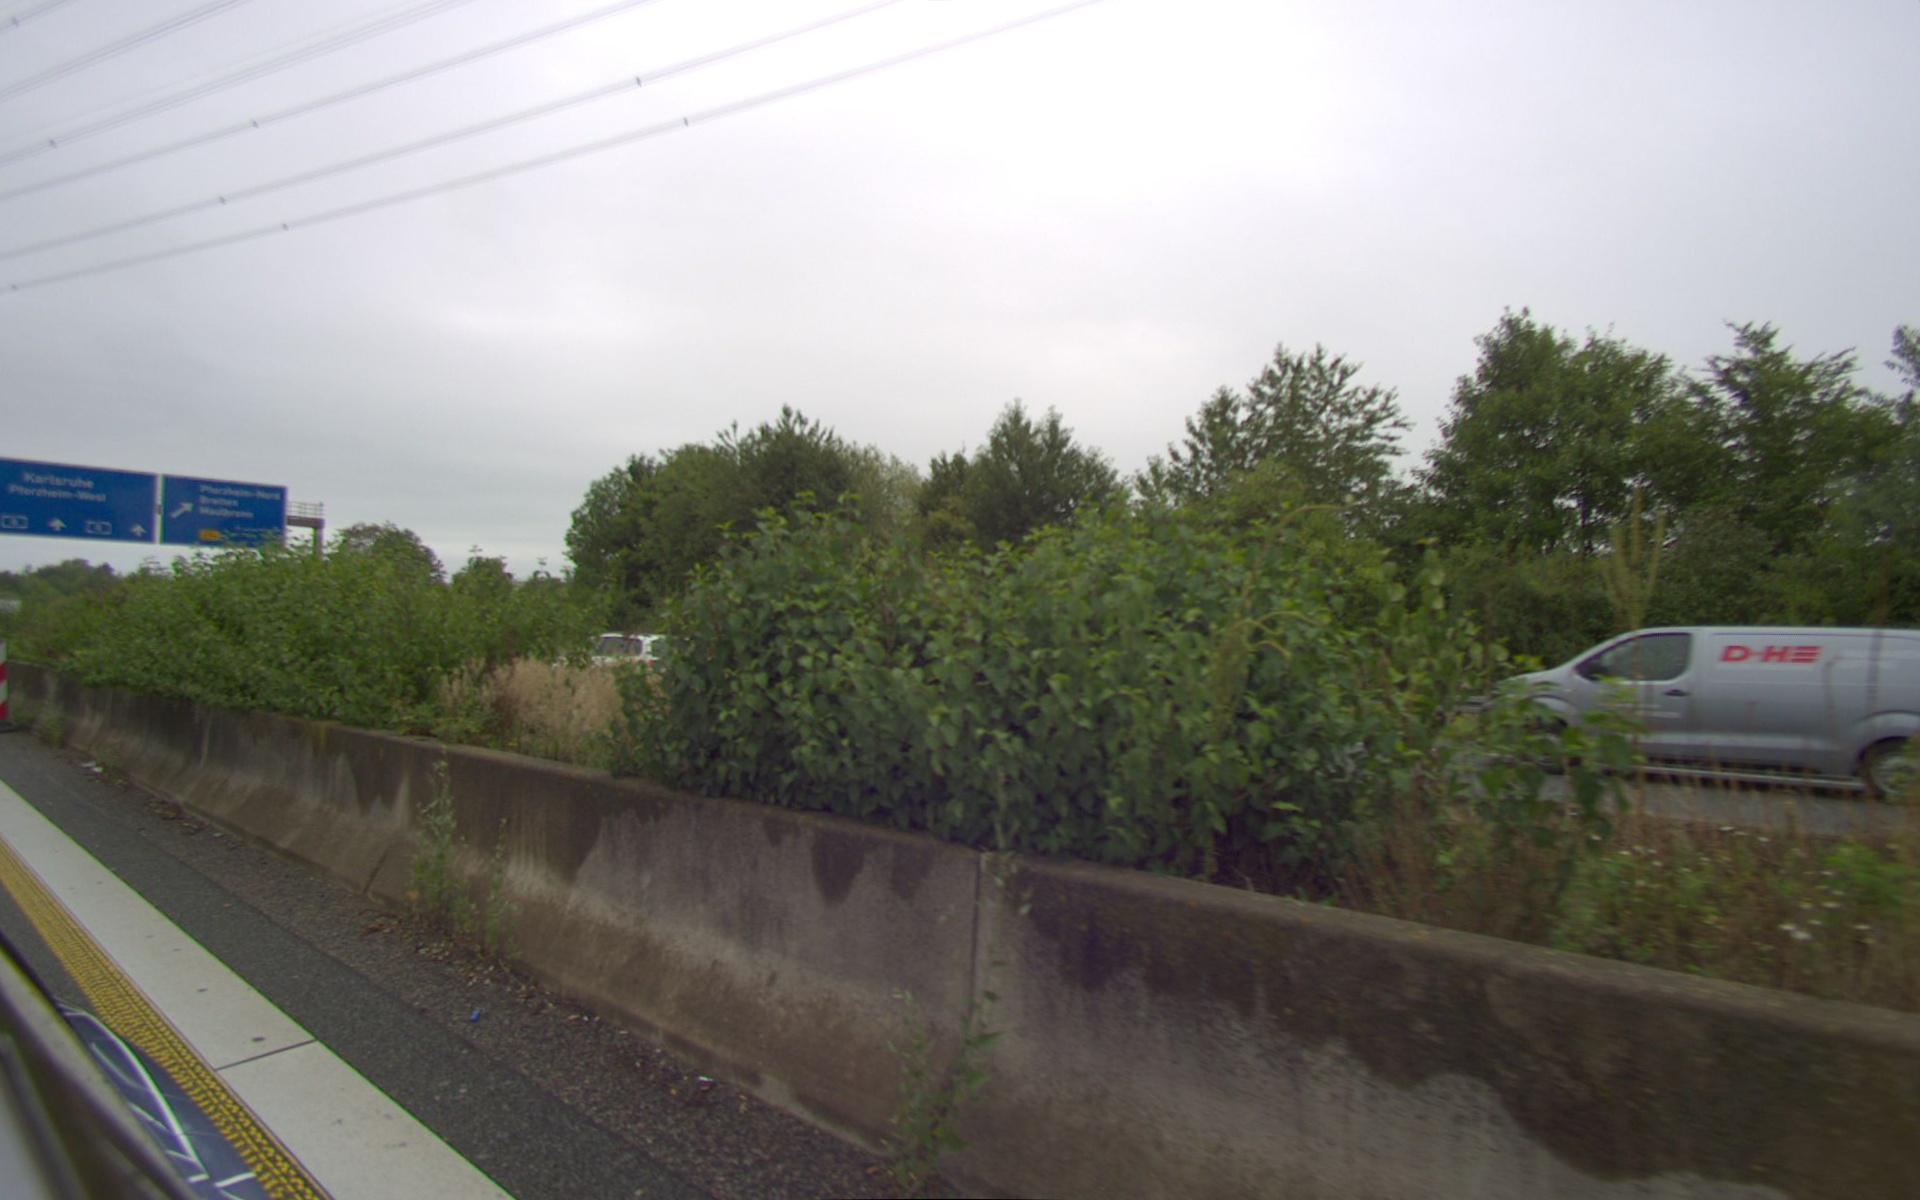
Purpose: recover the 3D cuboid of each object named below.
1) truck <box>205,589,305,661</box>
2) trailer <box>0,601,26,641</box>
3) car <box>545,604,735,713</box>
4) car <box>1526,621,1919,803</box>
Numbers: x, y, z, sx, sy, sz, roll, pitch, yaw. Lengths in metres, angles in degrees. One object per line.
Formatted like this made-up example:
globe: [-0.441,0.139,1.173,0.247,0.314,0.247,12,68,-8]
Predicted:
truck: [-34.710,1.237,49.717,7.049,3.252,2.237,-1,-5,41]
trailer: [-104.577,2.251,109.904,13.240,4.054,2.757,-1,-4,40]
car: [-6.459,1.100,20.203,4.158,1.948,1.714,-1,-2,41]
car: [9.176,1.191,11.800,4.265,1.838,1.683,-1,-4,41]
